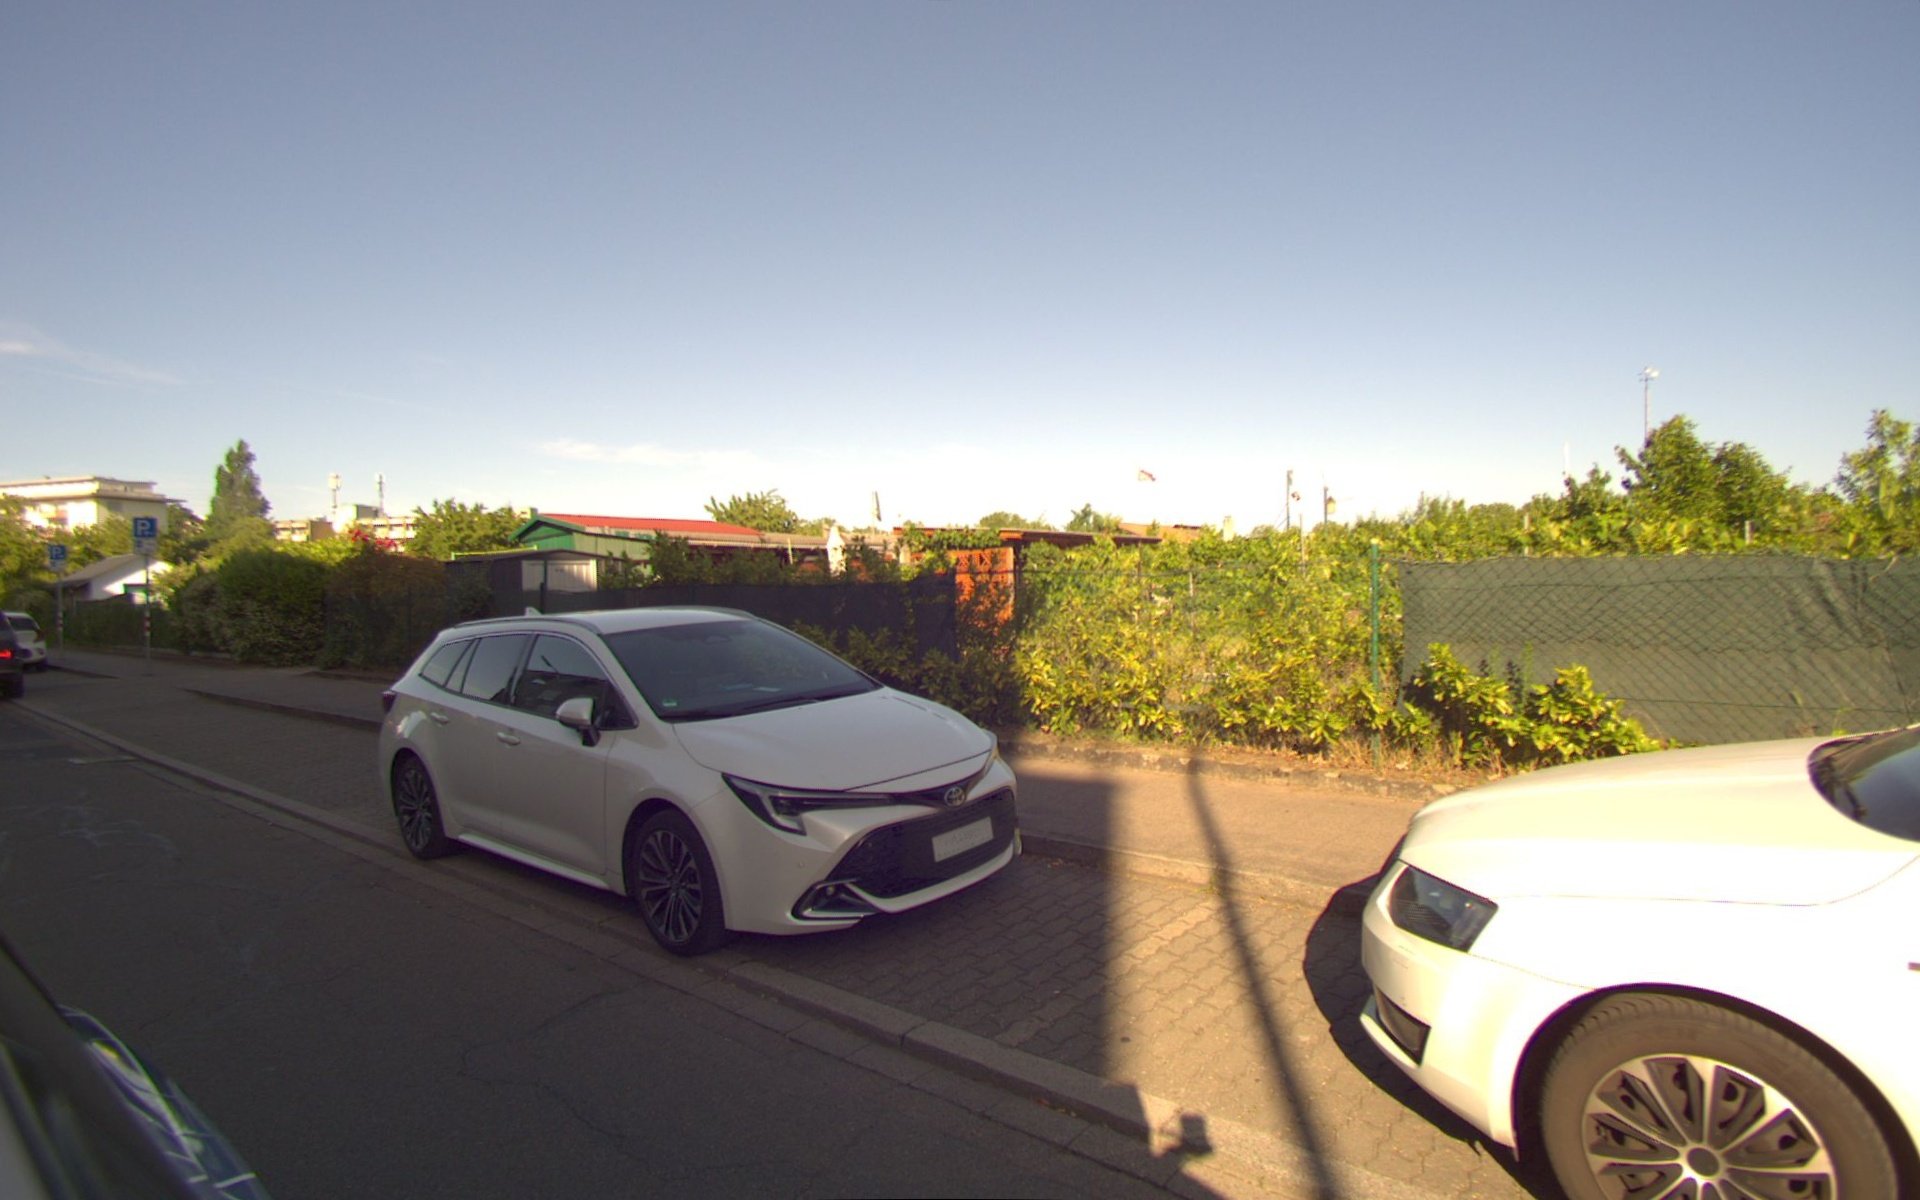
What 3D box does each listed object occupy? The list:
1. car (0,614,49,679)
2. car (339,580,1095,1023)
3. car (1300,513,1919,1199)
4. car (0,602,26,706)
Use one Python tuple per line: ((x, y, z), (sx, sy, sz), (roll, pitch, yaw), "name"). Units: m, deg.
((-23.828, 1.140, 24.987), (3.399, 1.499, 1.512), (-1, 1, 40), "car")
((-1.659, 0.727, 5.661), (4.538, 1.456, 1.729), (-1, 3, 41), "car")
((3.091, 0.547, 1.607), (4.513, 1.524, 1.679), (-1, 2, 40), "car")
((-18.308, 0.940, 18.091), (4.837, 1.740, 1.922), (-2, -2, 42), "car")
